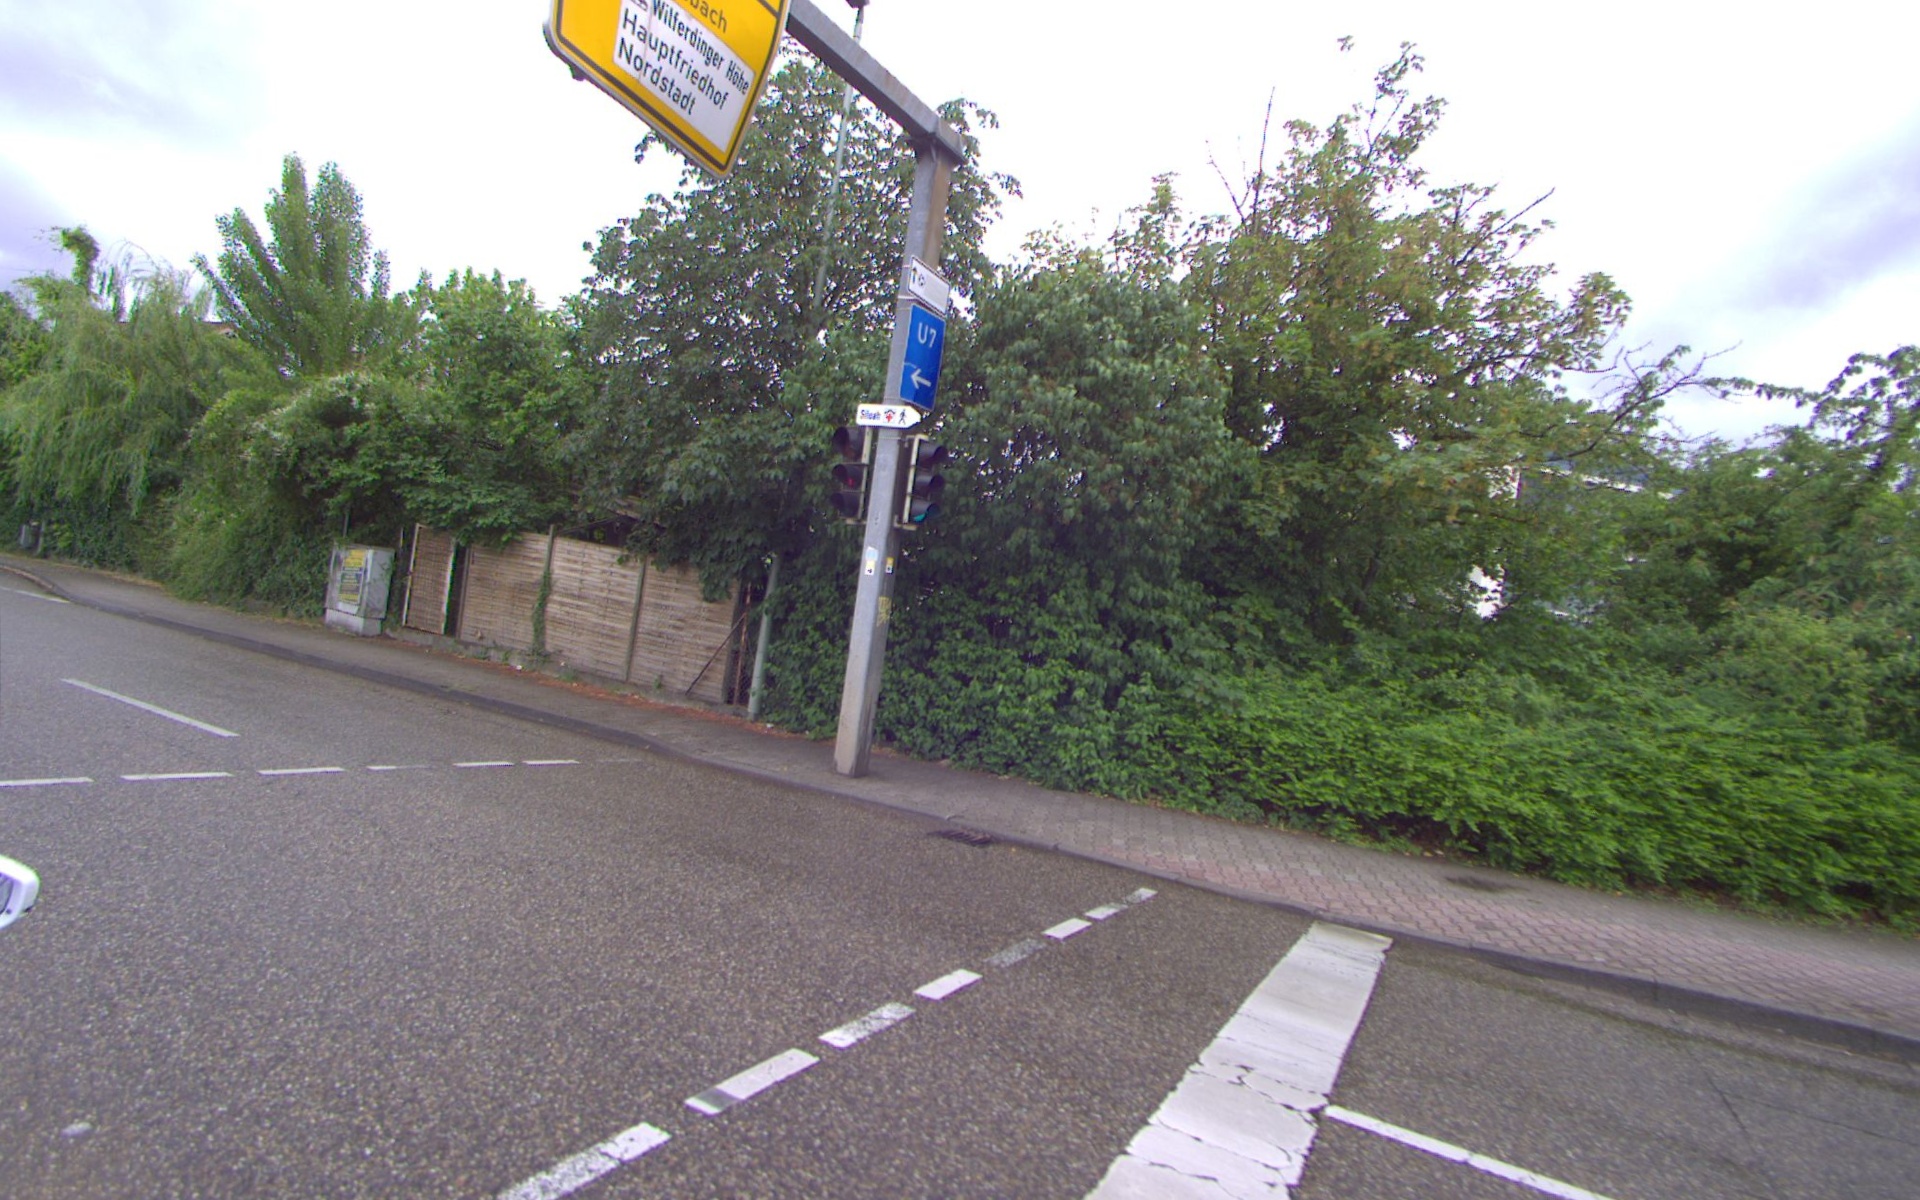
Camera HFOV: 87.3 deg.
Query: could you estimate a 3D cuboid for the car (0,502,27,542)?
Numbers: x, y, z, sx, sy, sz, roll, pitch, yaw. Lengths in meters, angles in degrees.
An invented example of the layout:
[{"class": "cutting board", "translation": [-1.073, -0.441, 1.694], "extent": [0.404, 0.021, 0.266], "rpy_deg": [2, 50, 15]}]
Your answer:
[{"class": "car", "translation": [-37.755, -3.149, 37.648], "extent": [1.698, 1.412, 3.724], "rpy_deg": [5, -1, 24]}]
